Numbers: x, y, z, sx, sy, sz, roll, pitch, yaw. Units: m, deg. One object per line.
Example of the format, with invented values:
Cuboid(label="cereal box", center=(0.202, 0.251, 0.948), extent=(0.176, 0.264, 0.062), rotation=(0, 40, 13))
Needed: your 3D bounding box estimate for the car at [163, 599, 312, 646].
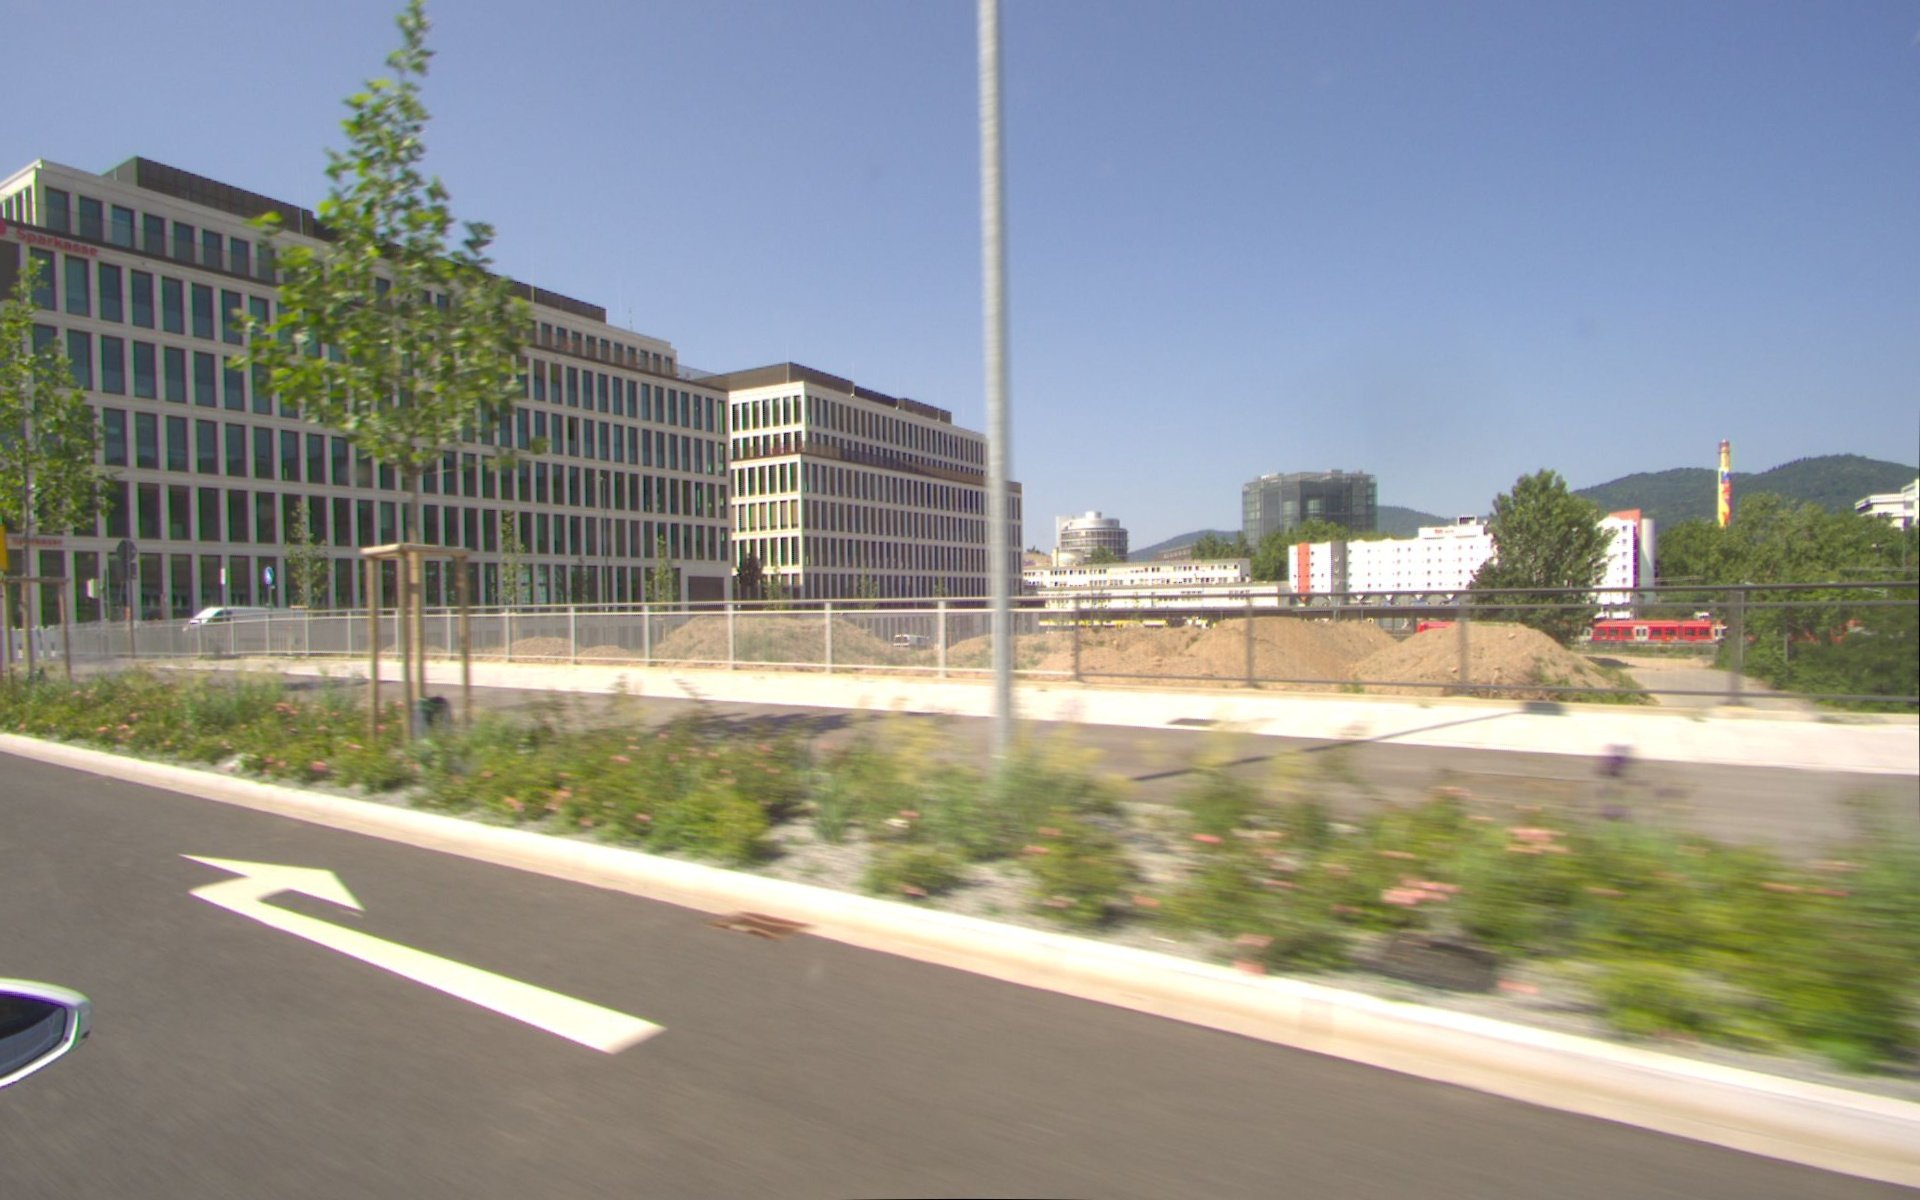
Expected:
Cuboid(label="car", center=(-36.933, 1.207, 51.376), extent=(2.116, 2.299, 5.826), rotation=(0, -2, 33))
